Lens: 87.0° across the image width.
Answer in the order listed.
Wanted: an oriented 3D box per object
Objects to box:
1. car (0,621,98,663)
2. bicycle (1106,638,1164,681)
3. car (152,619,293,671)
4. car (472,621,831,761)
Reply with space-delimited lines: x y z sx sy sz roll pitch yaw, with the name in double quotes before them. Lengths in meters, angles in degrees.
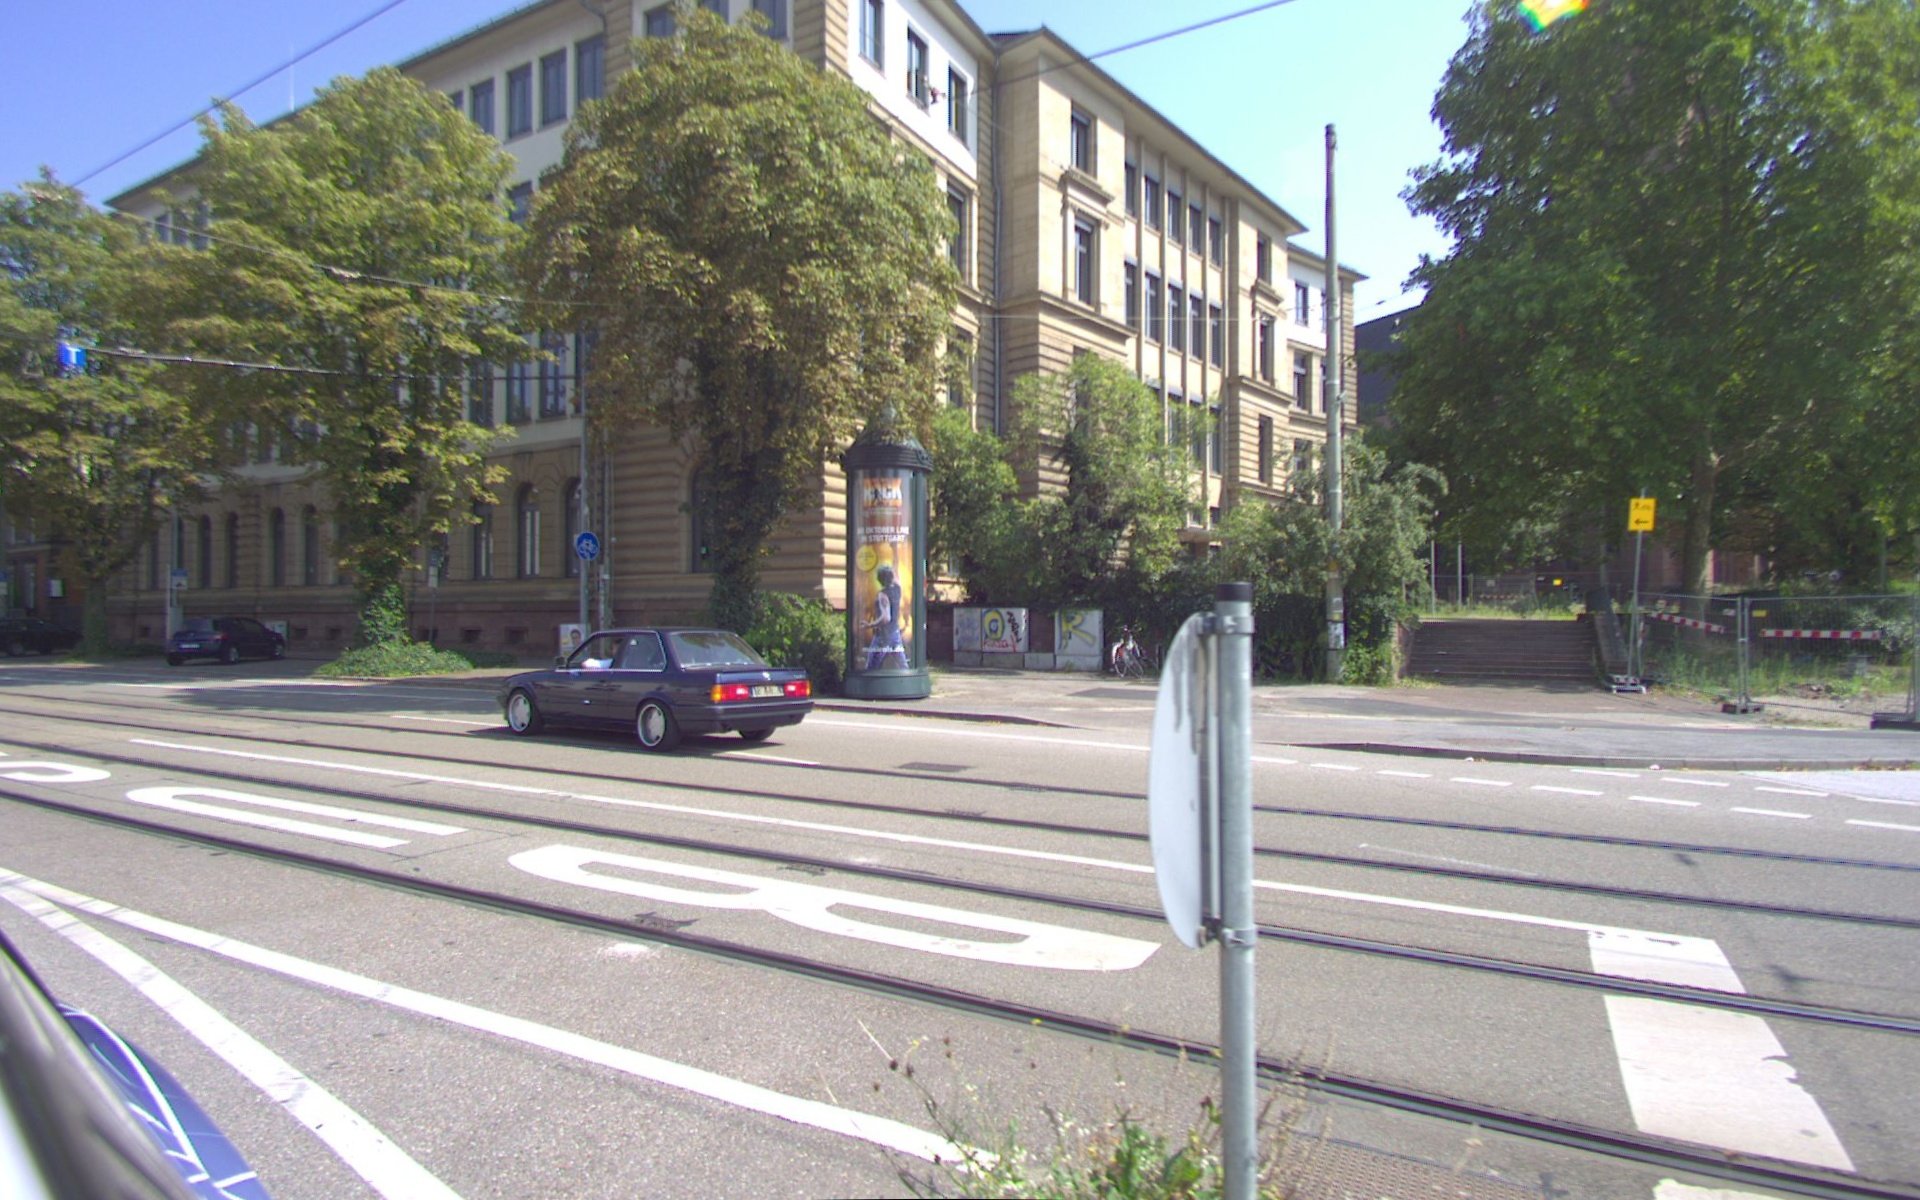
"car" -35.827 1.591 38.745 1.797 1.473 4.425 -1 -1 3
"bicycle" 4.005 1.322 22.974 0.746 0.901 2.161 -1 -2 25
"car" -22.782 1.351 31.471 1.792 1.507 4.171 0 -1 -8
"car" -3.806 0.951 12.117 4.608 1.388 1.673 -1 -2 36
